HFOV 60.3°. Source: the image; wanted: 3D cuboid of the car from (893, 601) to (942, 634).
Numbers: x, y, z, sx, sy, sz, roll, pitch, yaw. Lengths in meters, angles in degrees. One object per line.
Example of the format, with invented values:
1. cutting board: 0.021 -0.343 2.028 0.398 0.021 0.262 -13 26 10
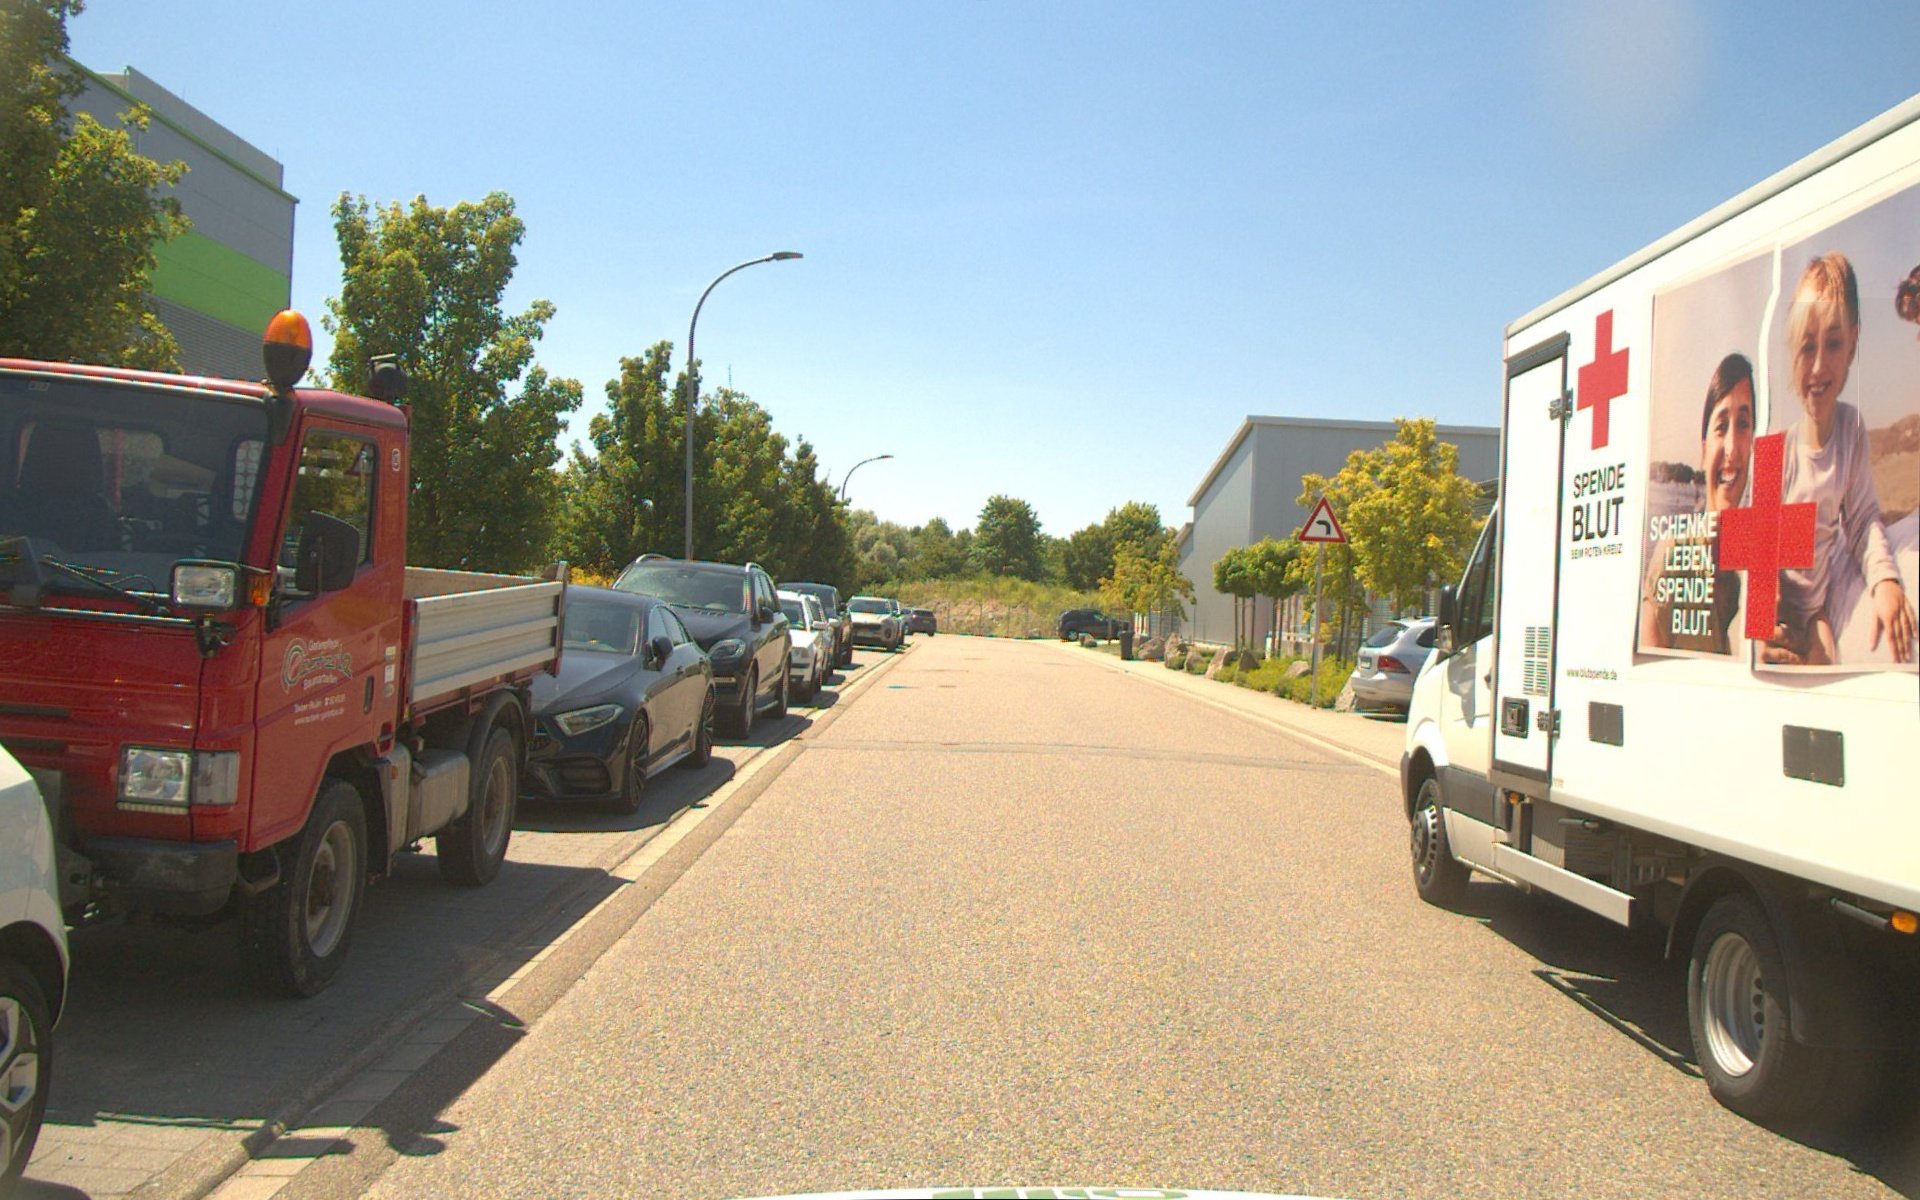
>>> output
1. car: -2.501 1.010 96.200 1.881 1.743 4.014 3 0 -16

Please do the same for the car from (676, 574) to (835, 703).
1. car: -2.819 0.495 23.756 1.815 1.545 4.902 4 0 -3

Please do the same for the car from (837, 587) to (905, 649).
1. car: -2.789 0.553 52.684 1.874 1.743 4.412 4 0 -1

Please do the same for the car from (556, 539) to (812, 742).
1. car: -2.819 0.386 18.055 1.814 1.789 4.987 4 0 0

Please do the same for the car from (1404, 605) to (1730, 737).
1. car: 7.966 0.906 21.950 3.616 1.568 1.913 2 0 1

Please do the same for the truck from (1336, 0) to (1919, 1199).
1. truck: 3.509 0.058 6.776 2.406 3.261 6.883 2 0 1

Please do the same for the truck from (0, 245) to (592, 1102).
1. truck: -2.964 0.156 6.748 1.814 2.261 4.645 4 0 -1

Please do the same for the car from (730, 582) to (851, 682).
1. car: -2.990 0.531 30.068 1.815 1.545 5.164 4 0 -3

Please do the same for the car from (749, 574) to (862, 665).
1. car: -3.365 0.407 36.935 1.951 1.743 5.007 4 0 0

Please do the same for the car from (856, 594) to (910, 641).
1. car: -2.975 0.655 64.583 1.873 1.684 4.754 2 0 -1

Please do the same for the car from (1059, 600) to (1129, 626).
1. car: 7.783 0.747 96.329 3.928 1.487 1.892 0 0 -2

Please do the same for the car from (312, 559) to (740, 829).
1. car: -2.873 0.557 12.141 1.814 1.468 4.753 4 0 0

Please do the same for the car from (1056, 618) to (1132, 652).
1. car: 7.265 1.892 90.003 3.928 1.684 1.857 -2 0 -1

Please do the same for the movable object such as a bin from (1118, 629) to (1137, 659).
1. movable object such as a bin: 5.579 1.456 55.092 0.547 0.963 0.539 1 -1 -2

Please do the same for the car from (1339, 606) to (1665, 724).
1. car: 7.932 0.927 24.508 4.191 1.568 1.913 2 0 1

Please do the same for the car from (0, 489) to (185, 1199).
1. car: -2.847 0.501 2.255 1.814 1.577 3.765 4 0 -2
